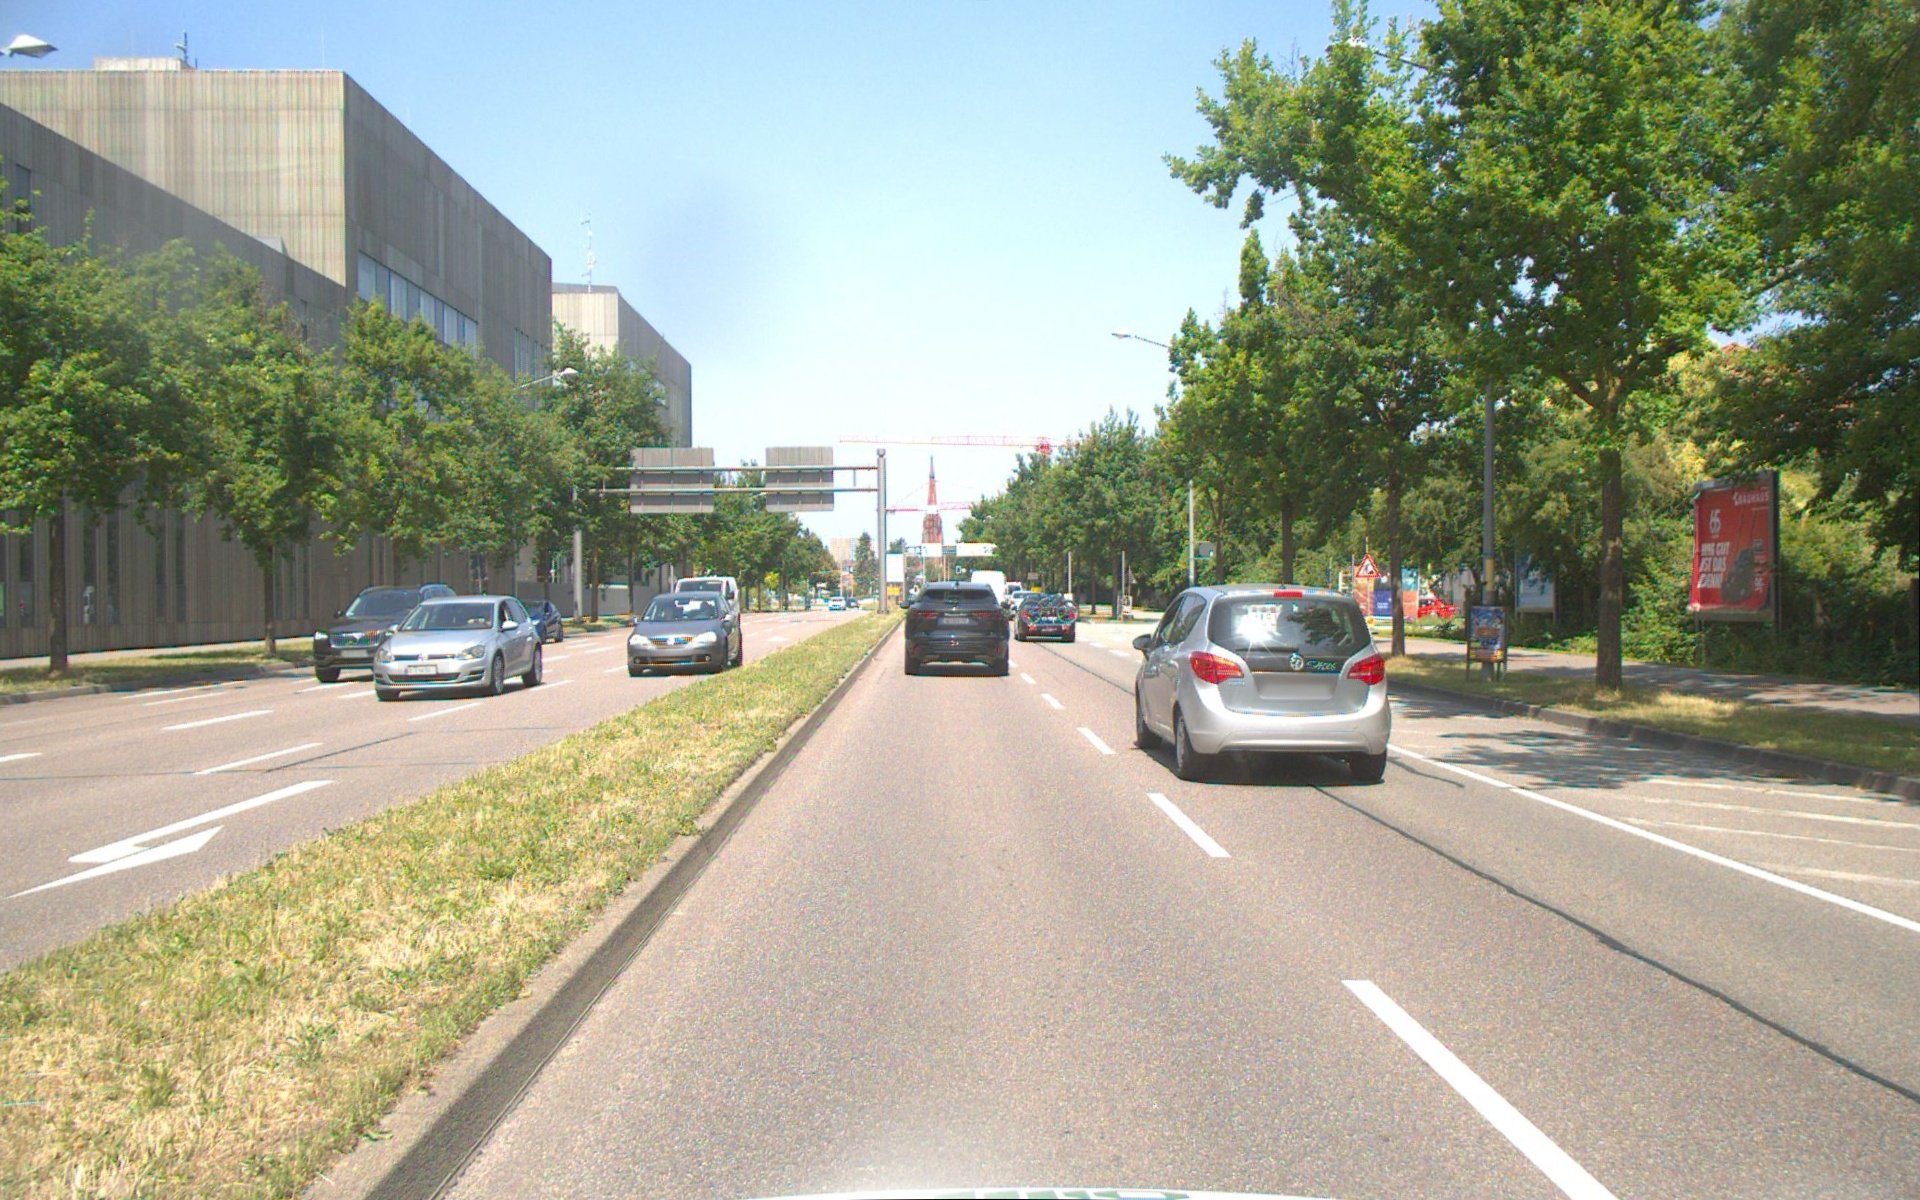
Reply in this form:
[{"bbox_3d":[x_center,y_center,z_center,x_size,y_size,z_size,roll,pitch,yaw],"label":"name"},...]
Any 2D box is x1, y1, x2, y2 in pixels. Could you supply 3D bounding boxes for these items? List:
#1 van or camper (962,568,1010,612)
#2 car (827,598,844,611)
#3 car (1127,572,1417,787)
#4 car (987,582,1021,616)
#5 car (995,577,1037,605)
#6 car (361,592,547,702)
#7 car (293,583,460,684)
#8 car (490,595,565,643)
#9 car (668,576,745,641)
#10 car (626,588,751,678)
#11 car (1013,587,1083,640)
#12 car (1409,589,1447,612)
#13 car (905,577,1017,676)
[{"bbox_3d":[1.411,-0.525,91.785,2.443,2.331,4.920,-1,0,-1],"label":"van or camper"},{"bbox_3d":[-14.018,0.502,186.045,1.774,1.452,4.356,-2,0,-3],"label":"car"},{"bbox_3d":[2.610,0.599,14.733,1.756,1.640,3.890,-1,0,-1],"label":"car"},{"bbox_3d":[2.703,-0.080,101.648,1.953,2.049,4.000,-1,0,0],"label":"car"},{"bbox_3d":[2.852,-0.435,85.021,1.622,1.380,4.456,-1,0,-5],"label":"car"},{"bbox_3d":[-7.680,0.652,25.500,1.730,1.486,4.143,-2,0,-3],"label":"car"},{"bbox_3d":[-11.302,0.596,32.374,1.774,1.777,4.643,-2,0,-3],"label":"car"},{"bbox_3d":[-14.231,0.587,54.624,1.588,1.481,4.015,-1,0,-3],"label":"car"},{"bbox_3d":[-8.564,0.255,56.250,1.870,2.028,4.897,-2,0,-1],"label":"car"},{"bbox_3d":[-4.929,0.556,30.497,1.774,1.492,4.055,-2,0,-3],"label":"car"},{"bbox_3d":[2.647,0.402,50.672,1.973,1.544,4.461,-1,0,1],"label":"car"},{"bbox_3d":[24.933,0.028,88.224,1.350,1.208,3.305,-1,0,5],"label":"car"},{"bbox_3d":[0.032,0.453,30.866,1.957,1.719,4.034,0,0,0],"label":"car"}]
